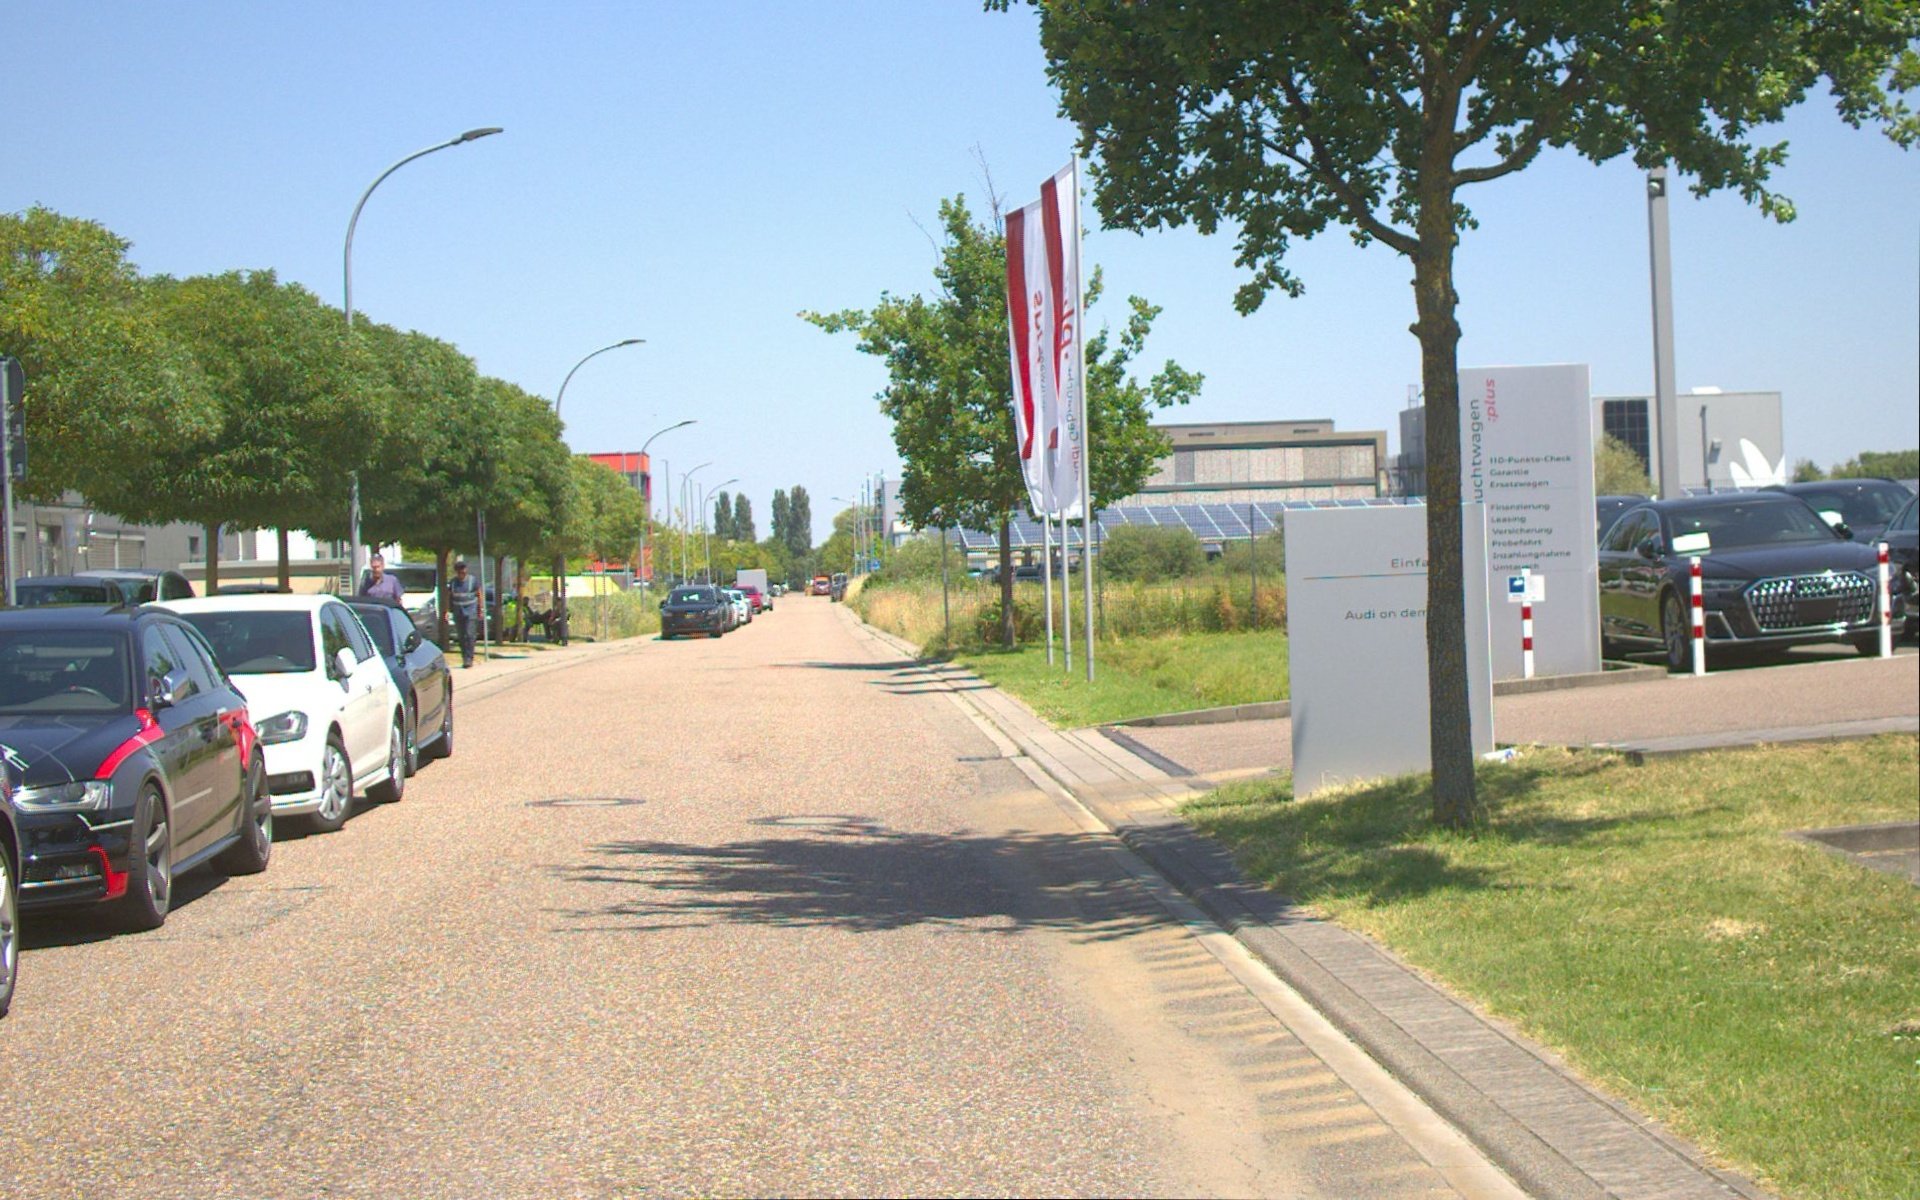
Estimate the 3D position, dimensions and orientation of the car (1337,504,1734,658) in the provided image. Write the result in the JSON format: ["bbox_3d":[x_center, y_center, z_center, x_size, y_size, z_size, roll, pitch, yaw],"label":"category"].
[{"bbox_3d":[7.211,-0.242,43.373,4.528,1.687,2.032,-3,0,-4],"label":"car"}]

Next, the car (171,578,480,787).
[{"bbox_3d":[-5.095,0.608,28.169,1.824,1.495,4.526,-2,0,-3],"label":"car"}]

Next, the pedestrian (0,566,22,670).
[{"bbox_3d":[-16.085,0.291,57.009,0.840,1.707,0.965,0,0,-3],"label":"pedestrian"}]

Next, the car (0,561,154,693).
[{"bbox_3d":[-11.001,0.319,42.239,1.682,1.495,3.705,-3,0,-7],"label":"car"}]

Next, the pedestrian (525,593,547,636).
[{"bbox_3d":[-11.936,0.407,96.751,0.506,1.187,0.753,1,0,0],"label":"pedestrian"}]

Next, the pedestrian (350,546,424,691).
[{"bbox_3d":[-7.246,0.227,43.498,0.744,1.795,1.135,0,0,-1],"label":"pedestrian"}]

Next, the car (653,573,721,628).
[{"bbox_3d":[-8.195,0.007,103.565,1.926,1.562,4.190,-2,0,-4],"label":"car"}]

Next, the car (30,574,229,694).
[{"bbox_3d":[-11.345,0.432,47.238,1.765,1.568,4.540,0,0,-2],"label":"car"}]

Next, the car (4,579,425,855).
[{"bbox_3d":[-4.583,0.654,21.752,1.824,1.495,4.259,-2,0,-2],"label":"car"}]

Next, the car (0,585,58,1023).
[{"bbox_3d":[-4.166,0.743,10.319,1.824,1.495,4.520,-2,0,-2],"label":"car"}]

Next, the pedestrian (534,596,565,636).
[{"bbox_3d":[-11.446,0.449,95.804,0.750,1.095,0.646,1,0,2],"label":"pedestrian"}]

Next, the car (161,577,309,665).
[{"bbox_3d":[-12.249,0.333,58.272,1.765,1.448,3.840,0,0,-1],"label":"car"}]

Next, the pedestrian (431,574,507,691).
[{"bbox_3d":[-8.343,0.543,58.394,0.842,1.966,0.963,0,0,38],"label":"pedestrian"}]

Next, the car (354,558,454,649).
[{"bbox_3d":[-12.775,0.062,79.220,1.837,2.012,5.127,1,0,-5],"label":"car"}]

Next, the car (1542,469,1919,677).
[{"bbox_3d":[6.737,-0.238,30.299,2.025,1.509,5.240,-5,1,-2],"label":"car"}]

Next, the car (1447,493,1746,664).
[{"bbox_3d":[6.600,-0.232,36.200,2.024,1.568,4.779,-3,1,-2],"label":"car"}]

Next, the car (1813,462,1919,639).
[{"bbox_3d":[9.391,-0.514,30.674,1.896,1.568,5.476,-5,1,-2],"label":"car"}]

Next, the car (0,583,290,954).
[{"bbox_3d":[-4.493,0.708,16.360,1.824,1.495,4.520,-2,0,-2],"label":"car"}]

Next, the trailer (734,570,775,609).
[{"bbox_3d":[-11.800,-0.596,197.609,2.200,2.130,4.286,-2,0,-2],"label":"trailer"}]

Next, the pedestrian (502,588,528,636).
[{"bbox_3d":[-11.055,0.304,85.337,0.479,1.146,0.555,1,-2,8],"label":"pedestrian"}]

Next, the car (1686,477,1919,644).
[{"bbox_3d":[9.286,-0.433,36.193,2.024,1.584,4.779,-3,1,-2],"label":"car"}]
